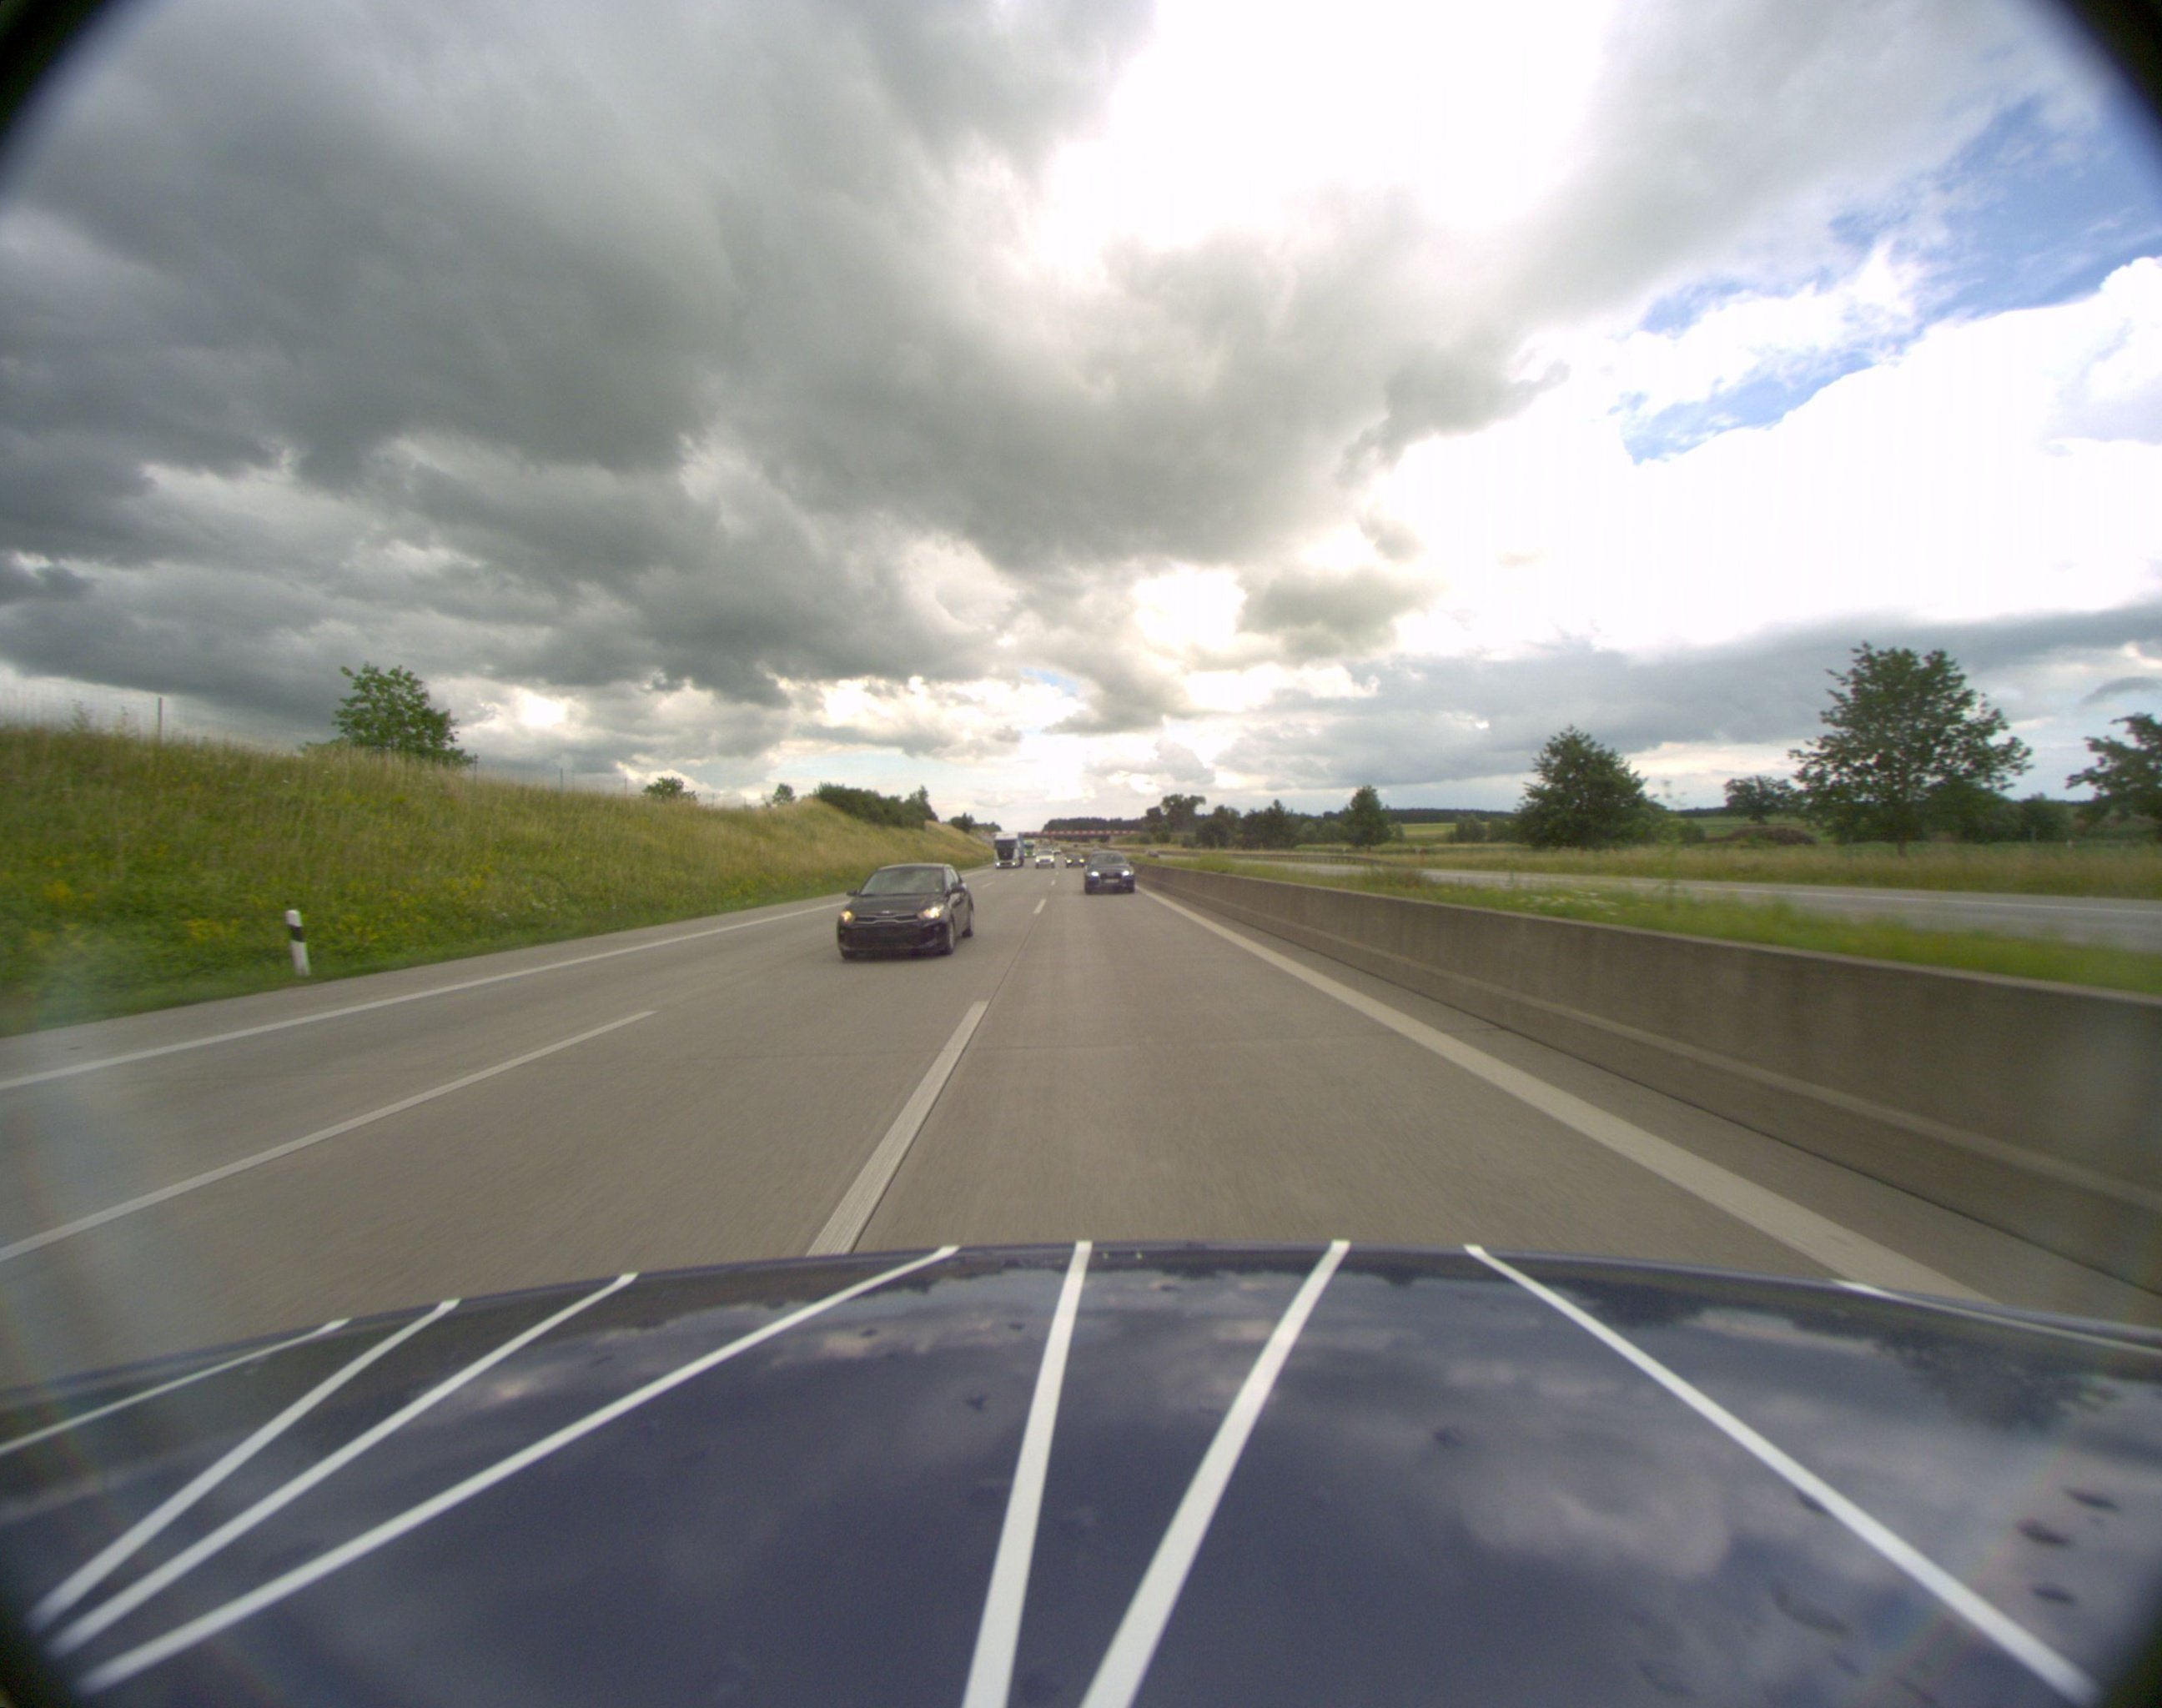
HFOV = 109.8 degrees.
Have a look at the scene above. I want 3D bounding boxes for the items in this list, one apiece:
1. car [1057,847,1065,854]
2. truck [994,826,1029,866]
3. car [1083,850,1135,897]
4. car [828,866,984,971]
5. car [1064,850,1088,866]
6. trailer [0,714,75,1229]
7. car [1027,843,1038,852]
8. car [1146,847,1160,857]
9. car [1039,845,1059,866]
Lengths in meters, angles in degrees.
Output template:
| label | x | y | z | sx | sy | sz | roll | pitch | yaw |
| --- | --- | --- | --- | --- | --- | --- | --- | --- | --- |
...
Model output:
| label | x | y | z | sx | sy | sz | roll | pitch | yaw |
| --- | --- | --- | --- | --- | --- | --- | --- | --- | --- |
| car | -5.443 | -1.008 | 208.778 | 1.999 | 2.002 | 3.999 | -1 | 1 | -1 |
| truck | -7.819 | -0.849 | 86.811 | 2.854 | 4.176 | 10.709 | -2 | 0 | 0 |
| car | 1.171 | 0.686 | 29.769 | 1.797 | 1.586 | 5.158 | -2 | 0 | 4 |
| car | -2.863 | 0.990 | 13.293 | 1.690 | 1.405 | 4.000 | -2 | 1 | 1 |
| car | -0.473 | 0.406 | 76.825 | 1.939 | 1.464 | 4.001 | -2 | 0 | 5 |
| trailer | -6.550 | 0.635 | 0.566 | 2.615 | 2.519 | 6.720 | -2 | 1 | -1 |
| car | -11.397 | -1.476 | 179.317 | 2.358 | 2.002 | 4.810 | -2 | 1 | -3 |
| car | 10.607 | -0.299 | 112.367 | 1.646 | 1.365 | 4.098 | -2 | 1 | 0 |
| car | -3.310 | 0.135 | 78.660 | 1.999 | 2.002 | 3.999 | -2 | 0 | -3 |
